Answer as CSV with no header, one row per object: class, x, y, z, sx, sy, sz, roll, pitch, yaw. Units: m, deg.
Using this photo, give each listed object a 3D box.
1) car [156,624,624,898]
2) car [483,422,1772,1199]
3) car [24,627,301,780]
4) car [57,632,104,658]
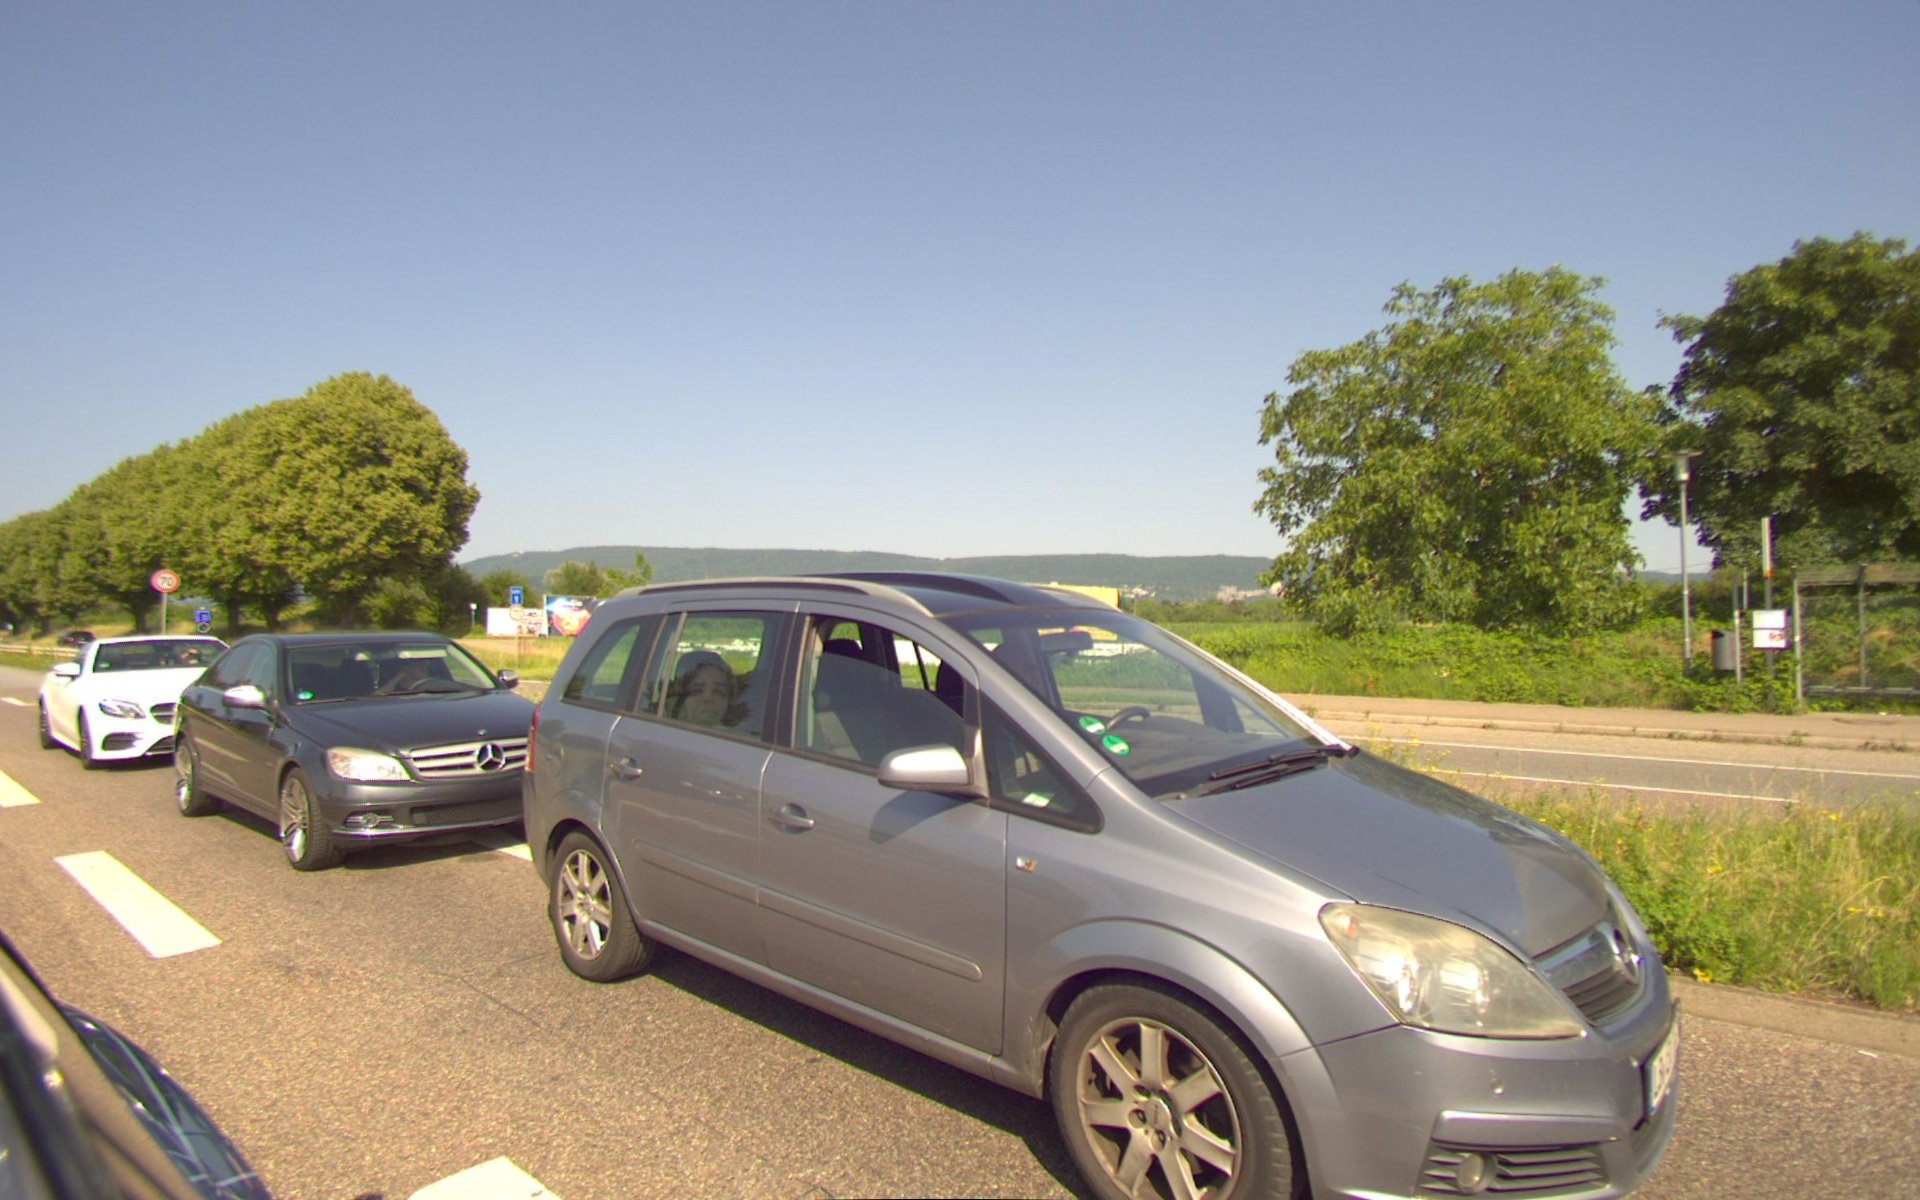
car,-4.398,0.923,7.467,4.353,1.421,1.696,-2,-1,42
car,0.089,0.620,3.677,4.355,1.685,1.723,-2,-1,42
car,-9.599,1.079,12.031,4.639,1.436,1.784,-2,-1,41
car,-65.993,3.336,75.899,4.951,1.855,1.972,-2,-5,41
